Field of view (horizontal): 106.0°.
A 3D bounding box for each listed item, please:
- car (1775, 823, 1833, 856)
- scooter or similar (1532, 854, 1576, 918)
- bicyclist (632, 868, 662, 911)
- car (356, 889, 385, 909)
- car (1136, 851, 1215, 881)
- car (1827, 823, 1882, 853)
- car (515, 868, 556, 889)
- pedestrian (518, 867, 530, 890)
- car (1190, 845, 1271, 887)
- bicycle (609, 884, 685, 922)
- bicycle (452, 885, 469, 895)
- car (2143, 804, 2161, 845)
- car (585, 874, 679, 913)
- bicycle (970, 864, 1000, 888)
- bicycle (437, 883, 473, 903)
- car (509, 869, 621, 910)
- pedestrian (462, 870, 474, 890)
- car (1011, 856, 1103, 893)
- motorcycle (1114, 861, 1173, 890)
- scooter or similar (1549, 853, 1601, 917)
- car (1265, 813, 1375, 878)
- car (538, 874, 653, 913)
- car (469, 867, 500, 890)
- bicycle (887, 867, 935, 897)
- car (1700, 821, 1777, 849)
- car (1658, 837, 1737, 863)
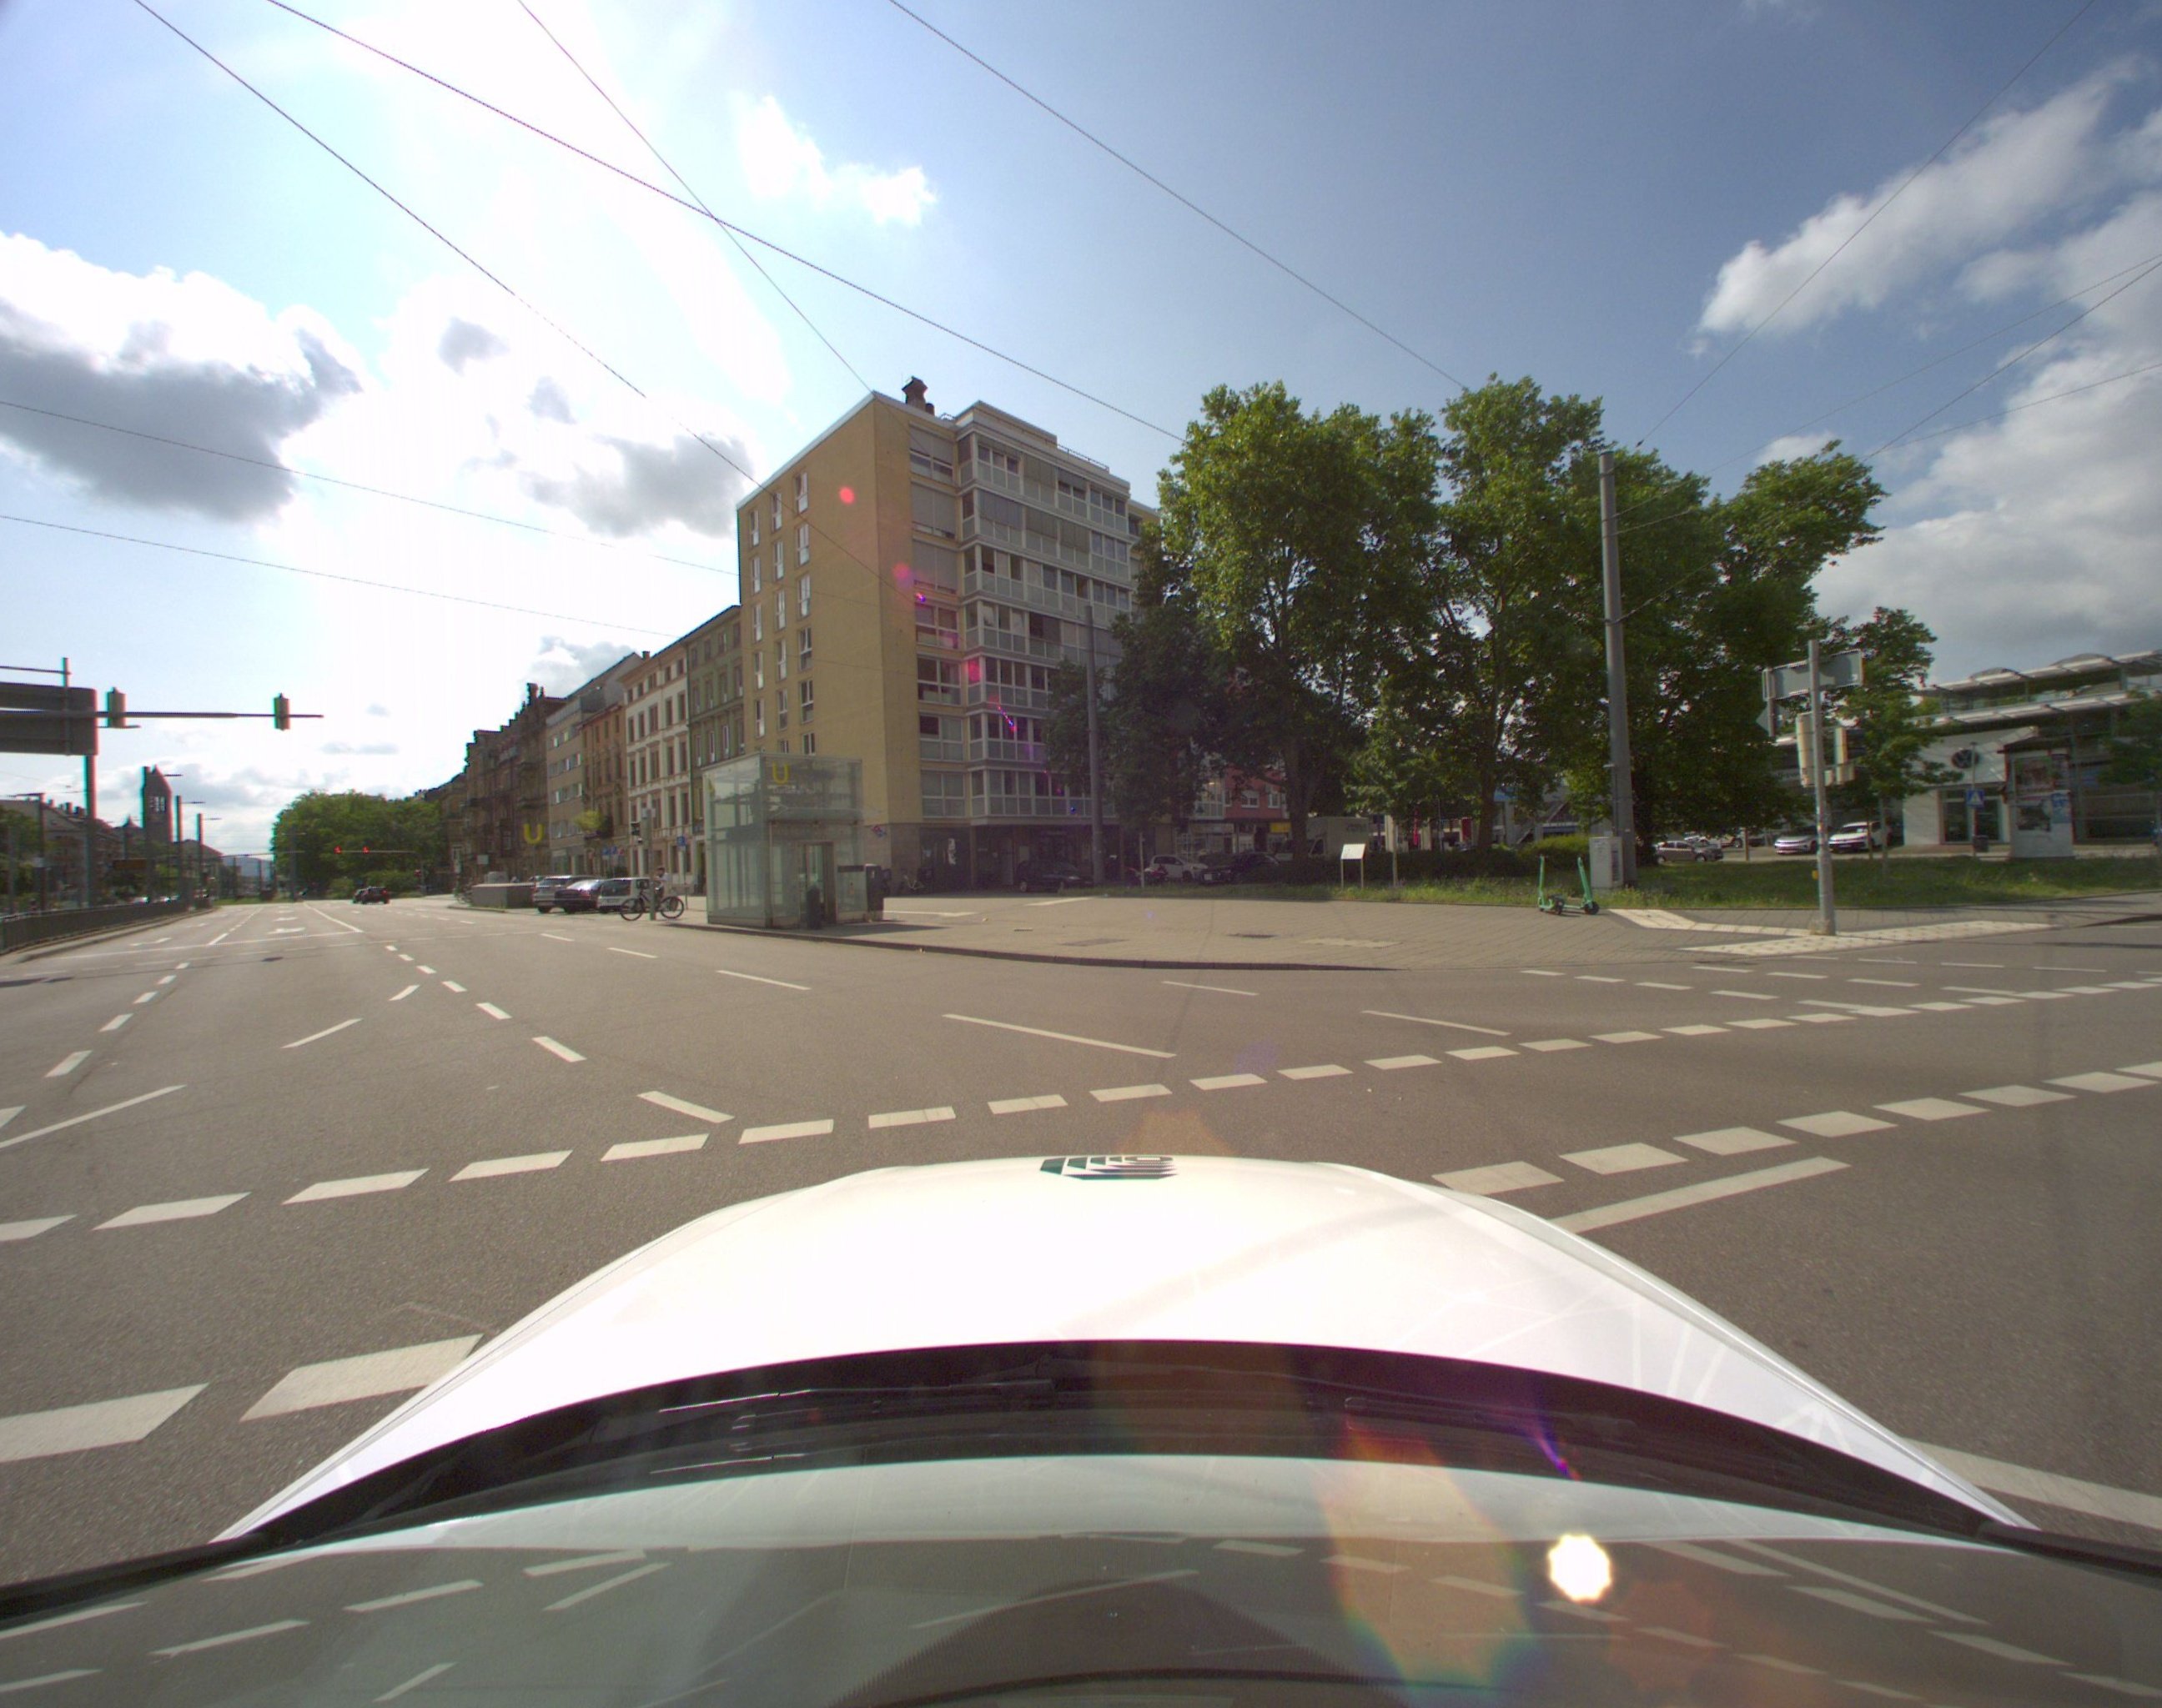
[{"bbox_3d":[45.512,-0.964,51.252,4.018,2.013,1.978,-2,3,-37],"label":"car"},{"bbox_3d":[9.282,0.603,16.006,0.378,1.196,1.067,0,1,9],"label":"scooter or similar"},{"bbox_3d":[-14.065,1.146,26.389,0.784,1.336,0.392,-1,1,-20],"label":"bicyclist"},{"bbox_3d":[-67.578,4.255,77.425,3.564,1.711,1.705,1,2,44],"label":"car"},{"bbox_3d":[5.135,0.626,44.712,4.045,1.514,1.820,1,2,44],"label":"car"},{"bbox_3d":[46.956,-0.964,49.406,4.019,1.682,1.771,-2,0,-37],"label":"car"},{"bbox_3d":[-53.219,2.414,79.398,4.691,1.862,2.013,-3,-1,40],"label":"car"},{"bbox_3d":[-50.899,2.214,74.423,0.727,2.099,0.776,-2,2,-44],"label":"pedestrian"},{"bbox_3d":[6.825,0.508,36.931,1.974,1.706,4.026,-2,0,37],"label":"car"},{"bbox_3d":[-14.051,1.581,26.405,2.099,1.106,0.541,-1,1,-18],"label":"bicycle"},{"bbox_3d":[-85.202,4.928,111.867,1.761,1.268,0.461,-2,2,-41],"label":"bicycle"},{"bbox_3d":[51.760,-1.426,38.212,4.015,1.838,1.979,-1,-1,-33],"label":"car"},{"bbox_3d":[-18.824,1.638,34.334,1.765,1.453,3.501,-2,-1,5],"label":"car"},{"bbox_3d":[-4.690,1.069,39.919,1.354,1.129,0.587,-2,2,-41],"label":"bicycle"},{"bbox_3d":[-43.737,2.715,56.894,0.435,1.237,1.943,0,2,32],"label":"bicycle"},{"bbox_3d":[-24.096,1.614,38.266,2.046,1.647,4.600,-2,0,3],"label":"car"},{"bbox_3d":[-60.189,2.556,79.978,0.686,1.903,0.669,-3,0,27],"label":"pedestrian"},{"bbox_3d":[-1.118,0.931,36.773,4.044,1.514,1.820,-2,0,44],"label":"car"},{"bbox_3d":[2.460,0.848,32.191,2.276,1.030,0.976,-2,-1,4],"label":"motorcycle"},{"bbox_3d":[9.797,0.596,16.187,0.379,1.196,1.064,-1,1,-1],"label":"scooter or similar"},{"bbox_3d":[12.406,-0.467,41.838,7.291,3.043,1.975,-2,0,-44],"label":"car"},{"bbox_3d":[-21.228,1.694,35.840,1.923,1.460,4.608,-2,-1,6],"label":"car"},{"bbox_3d":[-69.326,2.854,94.573,2.012,2.525,5.815,-2,0,-45],"label":"car"},{"bbox_3d":[-7.680,1.251,36.934,0.472,1.202,2.209,1,2,45],"label":"bicycle"},{"bbox_3d":[48.466,-1.410,60.123,2.002,2.013,3.970,-1,1,-23],"label":"car"},{"bbox_3d":[39.049,-0.271,51.683,1.677,1.487,3.649,-2,3,-28],"label":"car"}]
